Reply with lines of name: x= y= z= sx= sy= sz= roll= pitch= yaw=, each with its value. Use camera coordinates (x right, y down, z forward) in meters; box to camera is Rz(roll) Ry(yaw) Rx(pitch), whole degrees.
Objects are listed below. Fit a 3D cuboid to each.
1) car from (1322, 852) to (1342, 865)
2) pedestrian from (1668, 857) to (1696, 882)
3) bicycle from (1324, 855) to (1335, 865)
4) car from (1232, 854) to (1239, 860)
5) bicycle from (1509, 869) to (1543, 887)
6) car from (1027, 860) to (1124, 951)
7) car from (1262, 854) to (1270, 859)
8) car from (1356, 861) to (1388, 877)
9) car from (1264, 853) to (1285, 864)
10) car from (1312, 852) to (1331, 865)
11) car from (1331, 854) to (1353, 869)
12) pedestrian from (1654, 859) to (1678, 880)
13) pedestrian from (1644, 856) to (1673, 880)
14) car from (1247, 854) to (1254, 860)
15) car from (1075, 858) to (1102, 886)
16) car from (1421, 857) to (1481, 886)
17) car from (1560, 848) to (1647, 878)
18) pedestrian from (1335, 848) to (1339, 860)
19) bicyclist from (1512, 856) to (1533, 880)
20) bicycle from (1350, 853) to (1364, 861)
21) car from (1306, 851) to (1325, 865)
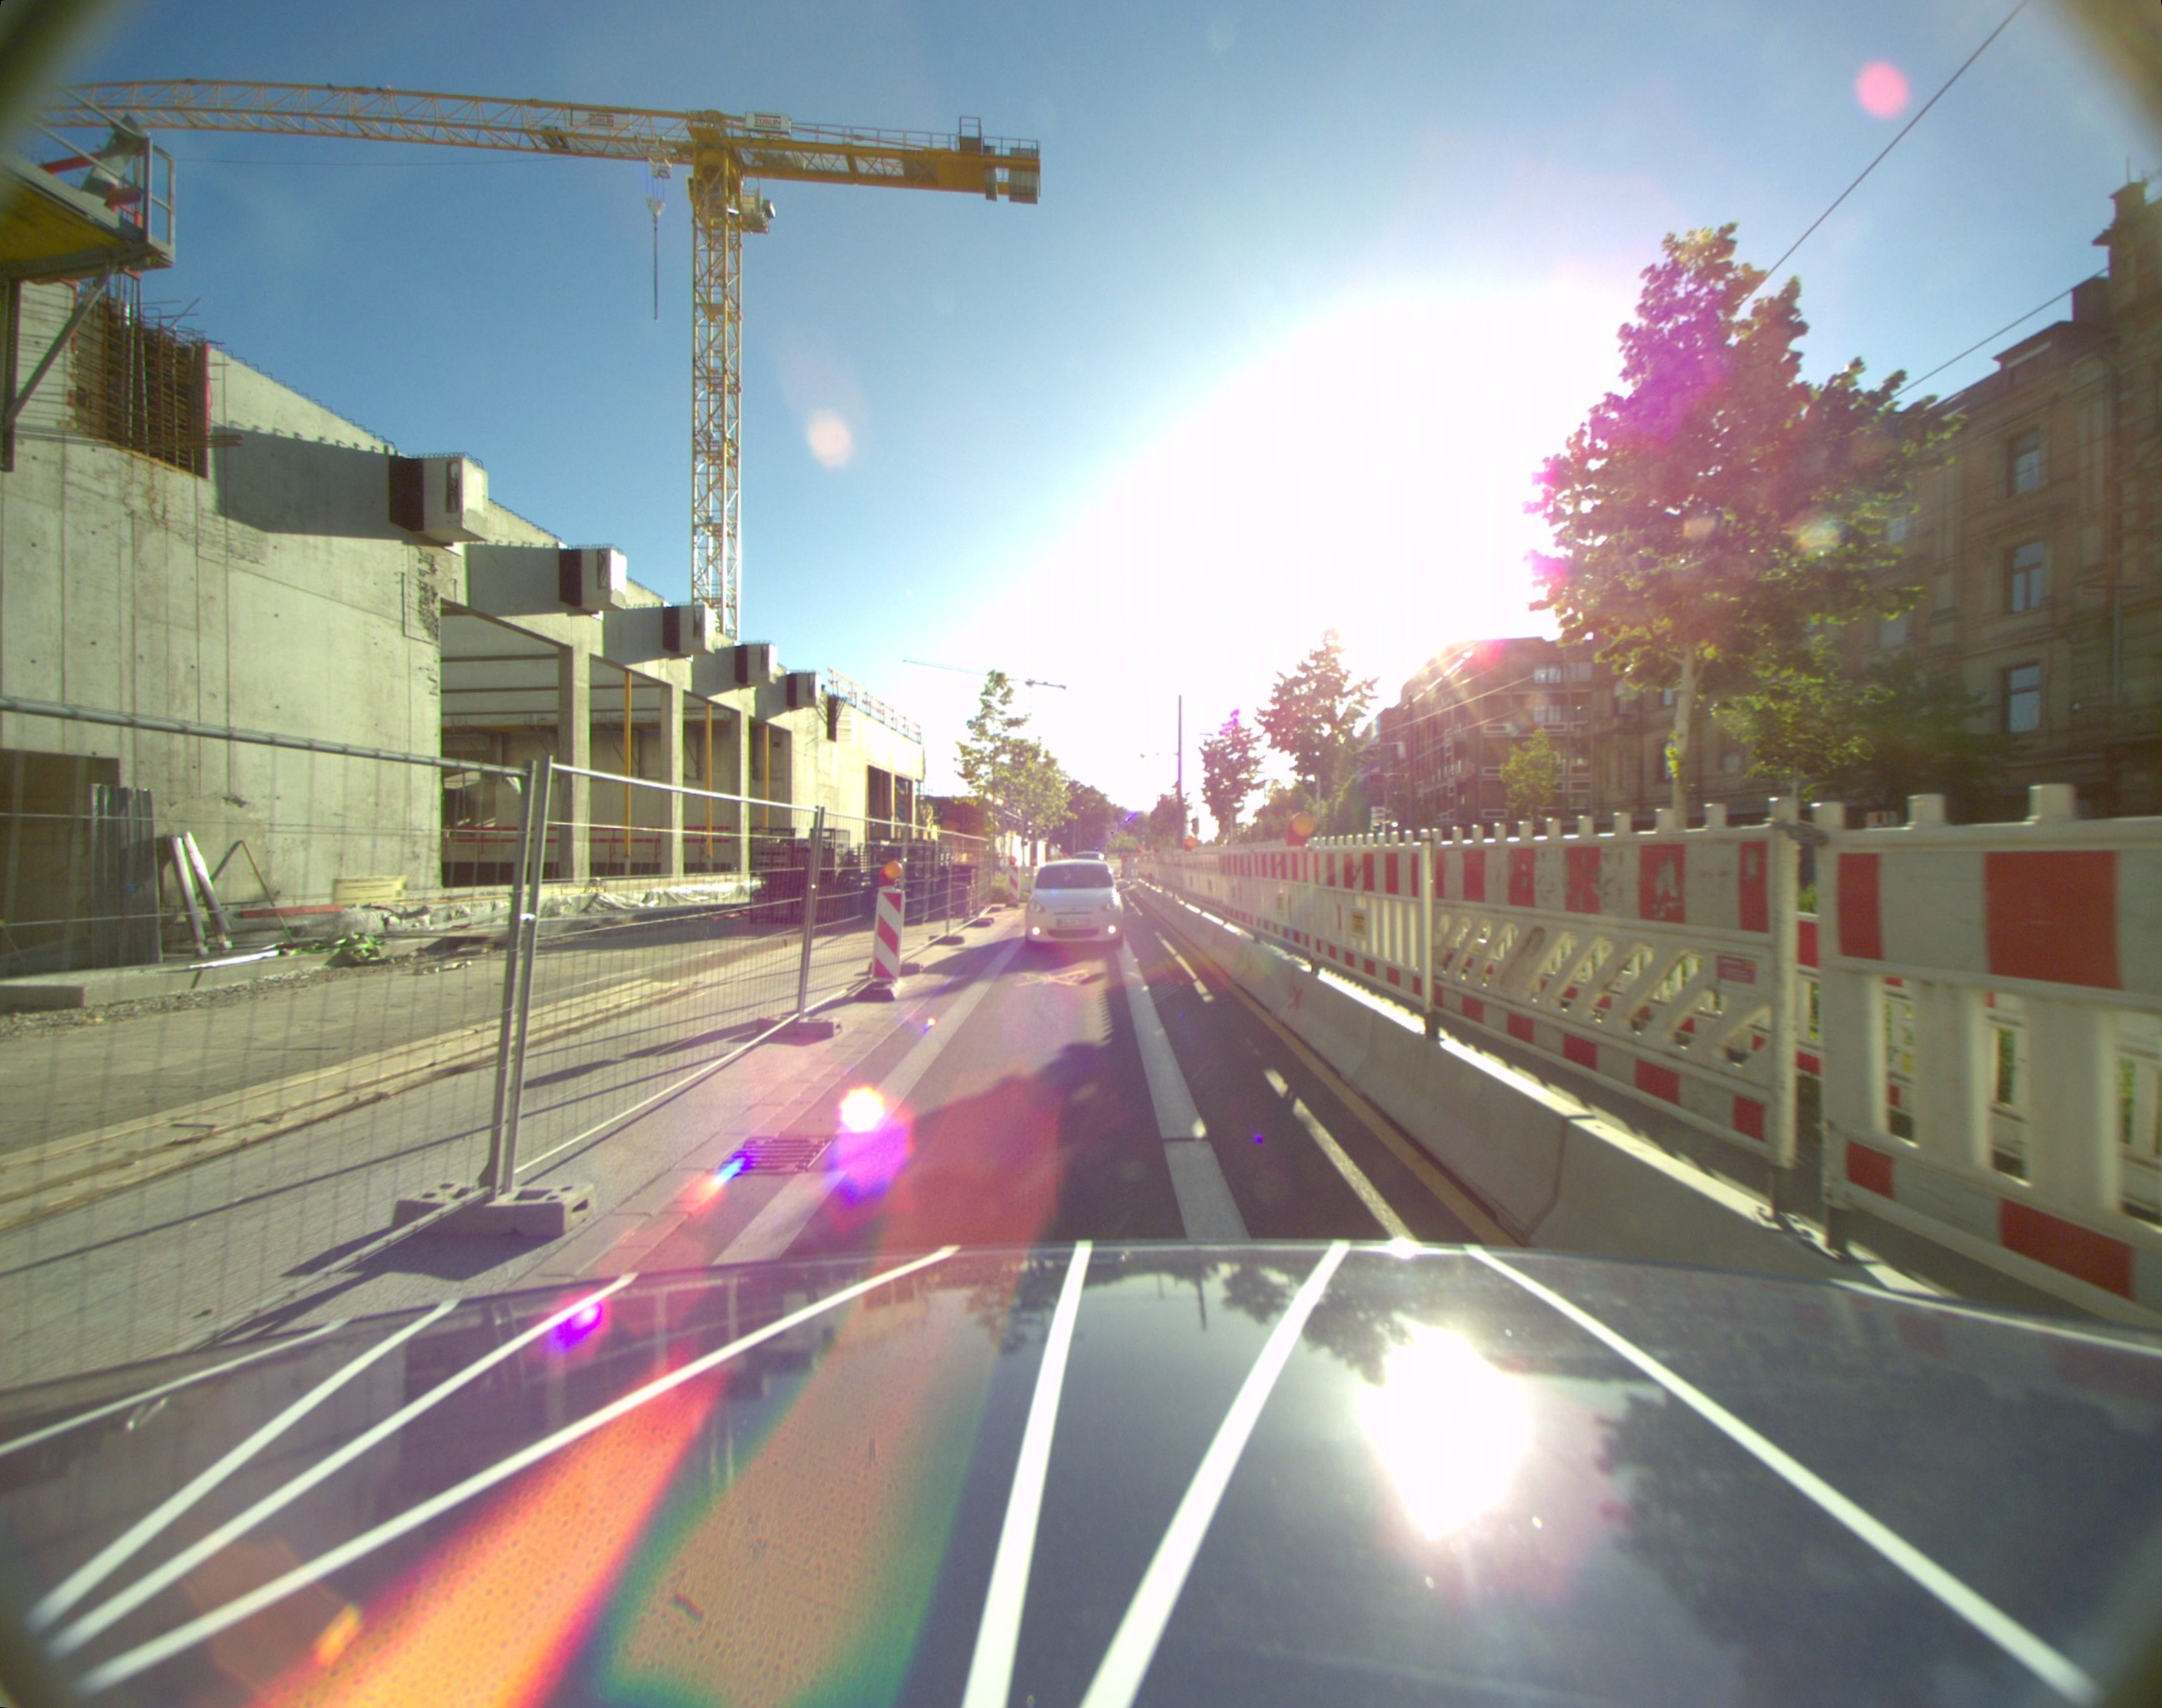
car: x=29.837 y=0.556 z=90.256 sx=1.627 sy=1.433 sz=3.821 roll=-1 pitch=0 yaw=9
pedestrian: x=29.821 y=0.778 z=37.698 sx=0.692 sy=1.201 sz=0.929 roll=0 pitch=1 yaw=2
bicycle: x=26.431 y=0.641 z=80.778 sx=0.696 sy=0.972 sz=1.827 roll=0 pitch=0 yaw=2
car: x=44.528 y=0.804 z=218.568 sx=1.731 sy=1.736 sz=4.123 roll=0 pitch=0 yaw=7
bicycle: x=22.862 y=1.212 z=39.077 sx=0.638 sy=0.852 sz=2.031 roll=0 pitch=0 yaw=3
car: x=-0.051 y=0.900 z=14.723 sx=1.614 sy=1.488 sz=3.395 roll=-2 pitch=0 yaw=1
car: x=47.472 y=0.607 z=195.172 sx=1.719 sy=1.379 sz=4.043 roll=1 pitch=0 yaw=10
car: x=27.610 y=1.414 z=72.152 sx=1.734 sy=1.452 sz=3.901 roll=-2 pitch=0 yaw=5
car: x=26.221 y=0.593 z=103.100 sx=1.857 sy=1.412 sz=4.070 roll=-2 pitch=0 yaw=2
car: x=30.048 y=0.546 z=95.115 sx=1.741 sy=1.527 sz=3.887 roll=-1 pitch=0 yaw=9
car: x=29.078 y=0.807 z=84.719 sx=1.652 sy=1.545 sz=3.969 roll=0 pitch=0 yaw=9
pedestrian: x=30.604 y=0.797 z=39.777 sx=0.692 sy=1.053 sz=0.736 roll=0 pitch=1 yaw=2
pedestrian: x=29.512 y=0.731 z=38.840 sx=0.793 sy=1.201 sz=0.929 roll=0 pitch=1 yaw=2
car: x=45.625 y=0.722 z=204.549 sx=1.630 sy=1.487 sz=3.782 roll=1 pitch=0 yaw=10
car: x=0.445 y=0.982 z=42.539 sx=1.458 sy=1.472 sz=3.528 roll=0 pitch=0 yaw=1
car: x=19.853 y=0.910 z=40.931 sx=1.598 sy=1.474 sz=3.624 roll=0 pitch=0 yaw=3
car: x=34.665 y=0.577 z=50.498 sx=4.522 sy=1.892 sz=1.898 roll=0 pitch=0 yaw=-3
pedestrian: x=38.283 y=-0.021 z=113.692 sx=0.521 sy=1.712 sz=0.537 roll=1 pitch=1 yaw=13
bicyclist: x=22.866 y=0.710 z=39.354 sx=0.638 sy=1.232 sz=0.738 roll=0 pitch=1 yaw=2
bicycle: x=40.688 y=0.434 z=111.999 sx=1.877 sy=1.066 sz=0.425 roll=1 pitch=1 yaw=14
car: x=30.884 y=0.527 z=100.254 sx=1.754 sy=1.761 sz=4.334 roll=-1 pitch=0 yaw=9
